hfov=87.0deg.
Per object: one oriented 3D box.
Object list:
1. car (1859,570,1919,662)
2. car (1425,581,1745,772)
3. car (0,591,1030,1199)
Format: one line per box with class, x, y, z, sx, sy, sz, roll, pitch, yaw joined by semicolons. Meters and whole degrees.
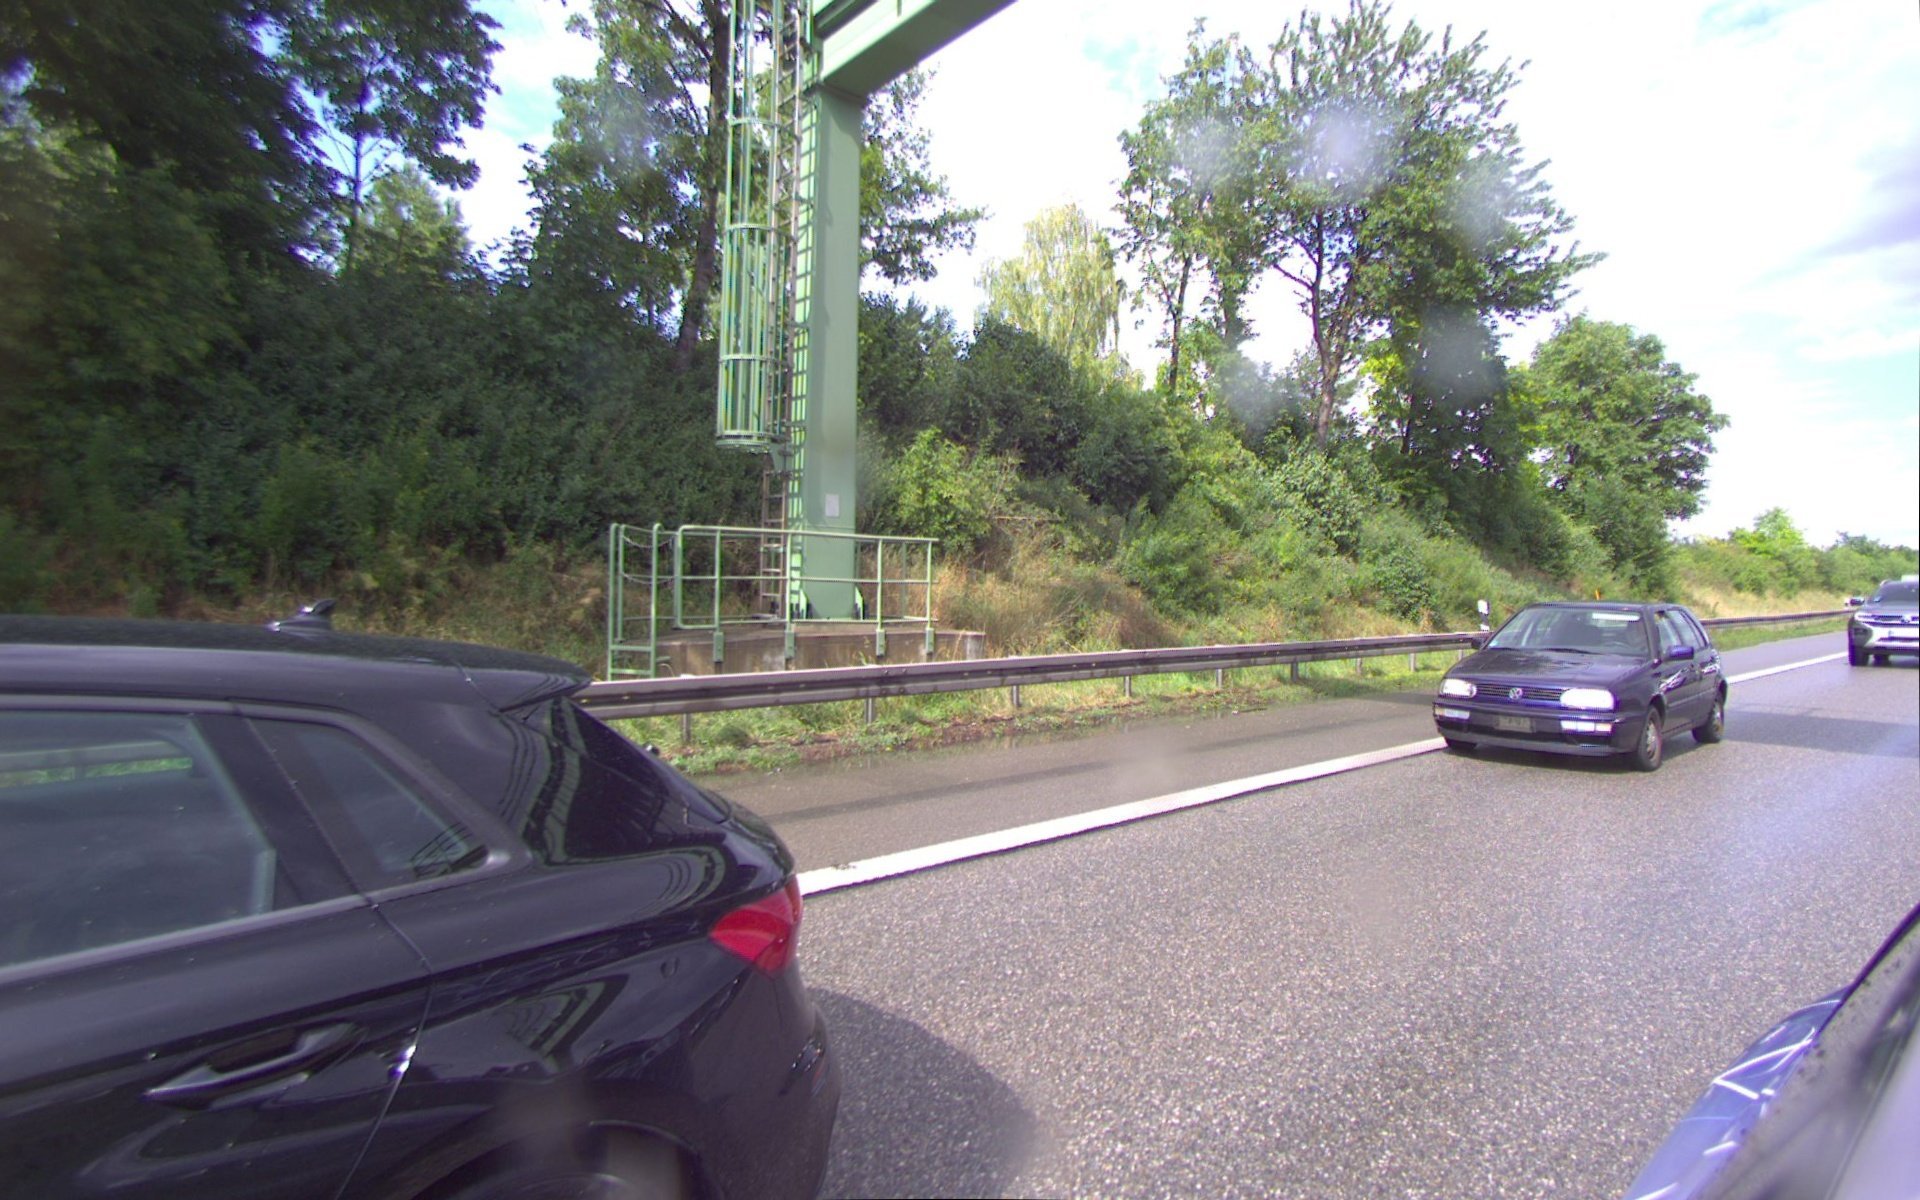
car;20.926;0.294;21.687;5.213;1.826;1.830;-1;1;-41
car;6.071;0.558;9.671;3.681;1.474;1.653;-1;1;-42
car;-2.041;0.707;1.302;4.292;1.414;1.758;-1;1;-41
